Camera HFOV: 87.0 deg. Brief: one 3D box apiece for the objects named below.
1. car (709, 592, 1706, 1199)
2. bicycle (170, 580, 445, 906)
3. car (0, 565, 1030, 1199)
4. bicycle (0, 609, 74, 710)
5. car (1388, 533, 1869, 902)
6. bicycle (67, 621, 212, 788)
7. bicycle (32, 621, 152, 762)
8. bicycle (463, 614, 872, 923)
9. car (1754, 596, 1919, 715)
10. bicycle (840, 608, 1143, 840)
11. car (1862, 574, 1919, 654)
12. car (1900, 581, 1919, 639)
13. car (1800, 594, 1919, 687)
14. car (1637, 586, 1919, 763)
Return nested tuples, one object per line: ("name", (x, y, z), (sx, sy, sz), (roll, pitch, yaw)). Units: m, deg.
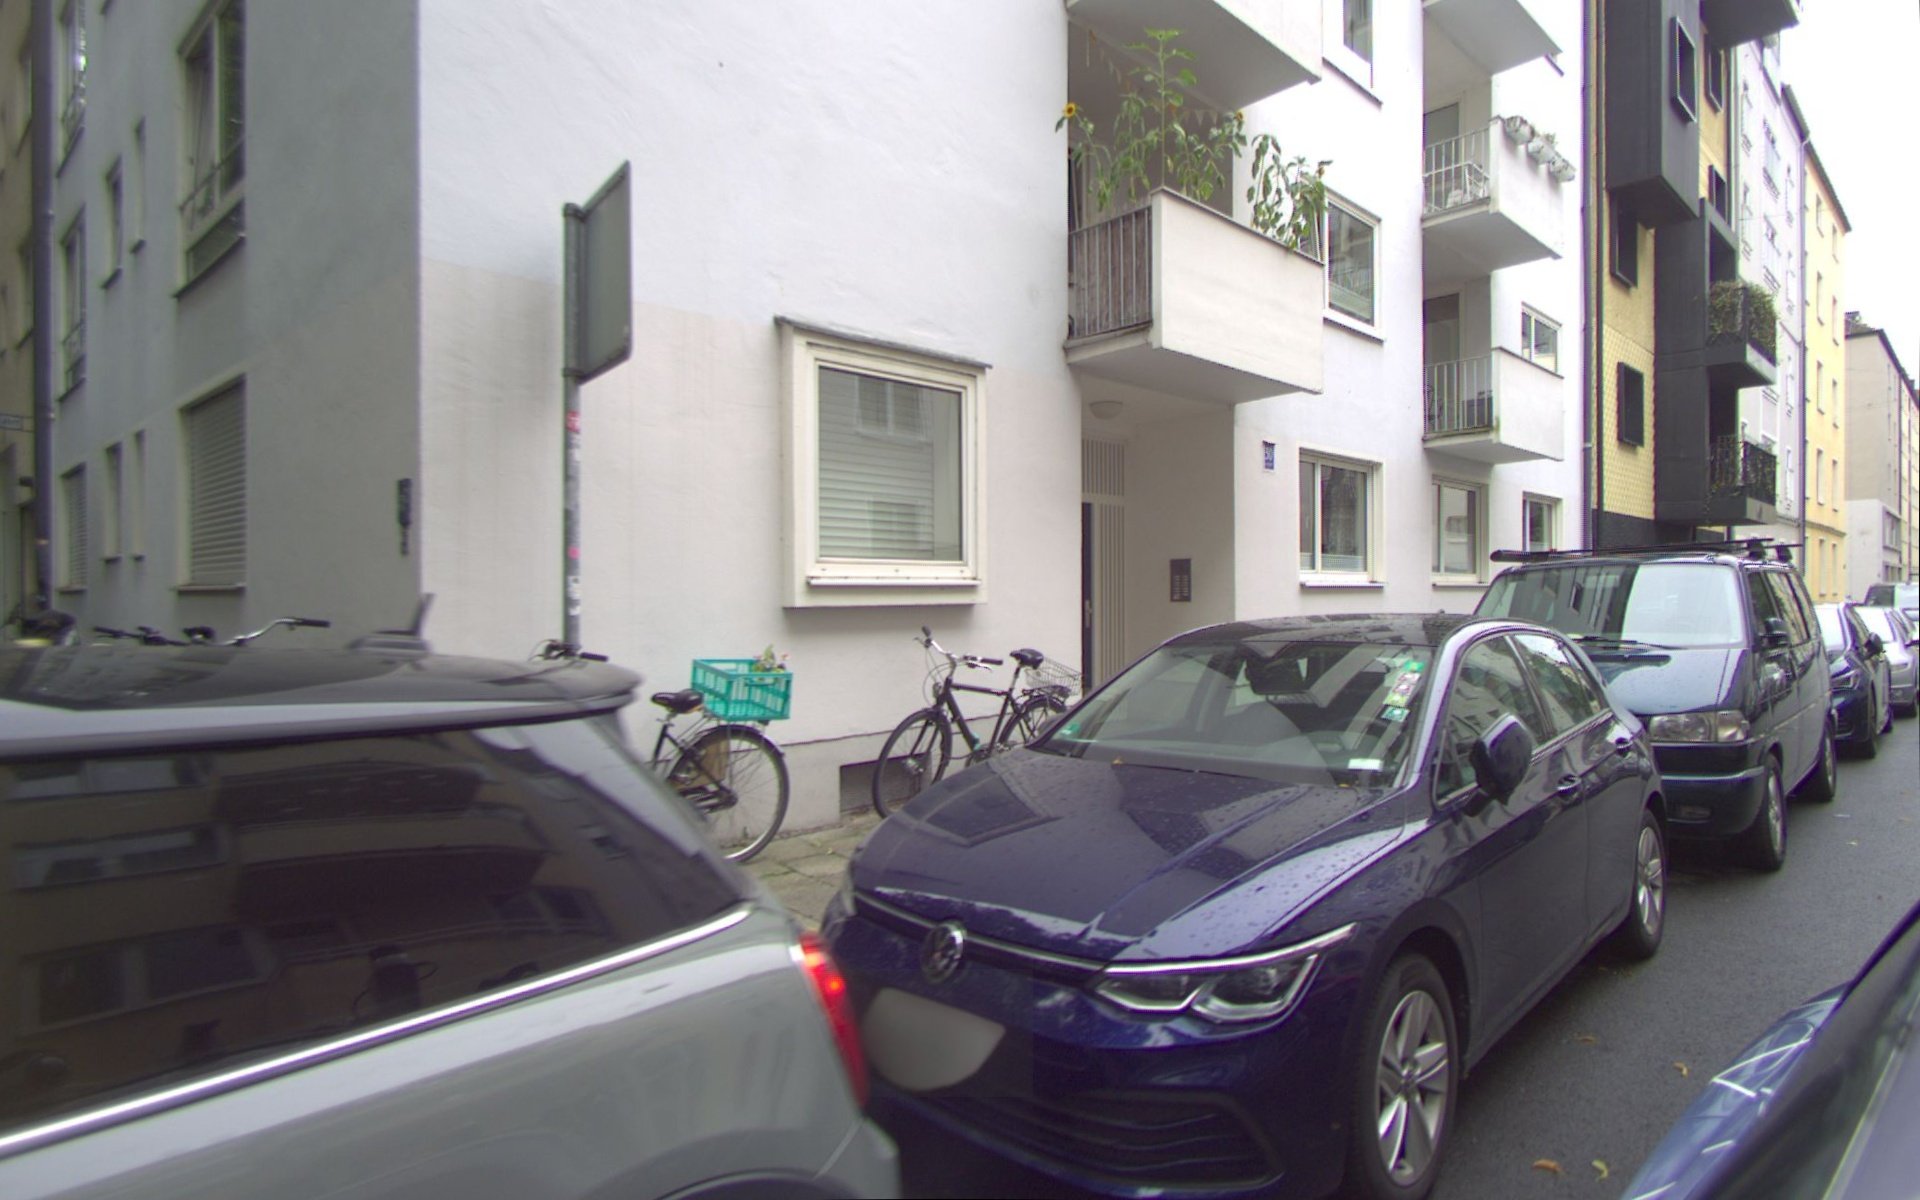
("car", (1.288, 0.702, 3.826), (3.991, 1.437, 1.835), (-1, 1, -44))
("bicycle", (-3.076, 0.555, 4.693), (1.845, 1.245, 0.570), (-1, -1, 40))
("car", (-1.920, 0.699, 0.965), (3.931, 1.459, 1.745), (-1, 1, -42))
("bicycle", (-10.351, 0.618, 11.164), (1.694, 1.036, 0.643), (-1, -1, 41))
("car", (5.031, 0.536, 7.281), (4.702, 1.813, 1.876), (-1, 1, -43))
("bicycle", (-5.830, 0.678, 7.158), (1.695, 1.036, 0.531), (-1, -1, 42))
("bicycle", (-7.150, 0.700, 8.313), (1.695, 1.036, 0.531), (-1, -1, 42))
("bicycle", (-1.351, 0.696, 4.968), (1.885, 1.235, 0.560), (0, -1, -43))
("car", (13.067, 0.728, 14.771), (4.192, 1.449, 1.760), (-1, -2, -45))
("bicycle", (0.287, 0.681, 6.507), (0.623, 1.235, 2.212), (-1, -1, 44))
("car", (24.213, 0.294, 25.321), (5.098, 1.862, 1.984), (-1, -1, -43))
("car", (29.822, 0.258, 30.451), (4.466, 1.695, 1.963), (-1, 1, -43))
("car", (16.434, 0.644, 18.131), (4.134, 1.447, 1.735), (-1, 1, -44))
("car", (9.358, 0.651, 11.420), (4.548, 1.573, 1.907), (-1, 1, -43))
